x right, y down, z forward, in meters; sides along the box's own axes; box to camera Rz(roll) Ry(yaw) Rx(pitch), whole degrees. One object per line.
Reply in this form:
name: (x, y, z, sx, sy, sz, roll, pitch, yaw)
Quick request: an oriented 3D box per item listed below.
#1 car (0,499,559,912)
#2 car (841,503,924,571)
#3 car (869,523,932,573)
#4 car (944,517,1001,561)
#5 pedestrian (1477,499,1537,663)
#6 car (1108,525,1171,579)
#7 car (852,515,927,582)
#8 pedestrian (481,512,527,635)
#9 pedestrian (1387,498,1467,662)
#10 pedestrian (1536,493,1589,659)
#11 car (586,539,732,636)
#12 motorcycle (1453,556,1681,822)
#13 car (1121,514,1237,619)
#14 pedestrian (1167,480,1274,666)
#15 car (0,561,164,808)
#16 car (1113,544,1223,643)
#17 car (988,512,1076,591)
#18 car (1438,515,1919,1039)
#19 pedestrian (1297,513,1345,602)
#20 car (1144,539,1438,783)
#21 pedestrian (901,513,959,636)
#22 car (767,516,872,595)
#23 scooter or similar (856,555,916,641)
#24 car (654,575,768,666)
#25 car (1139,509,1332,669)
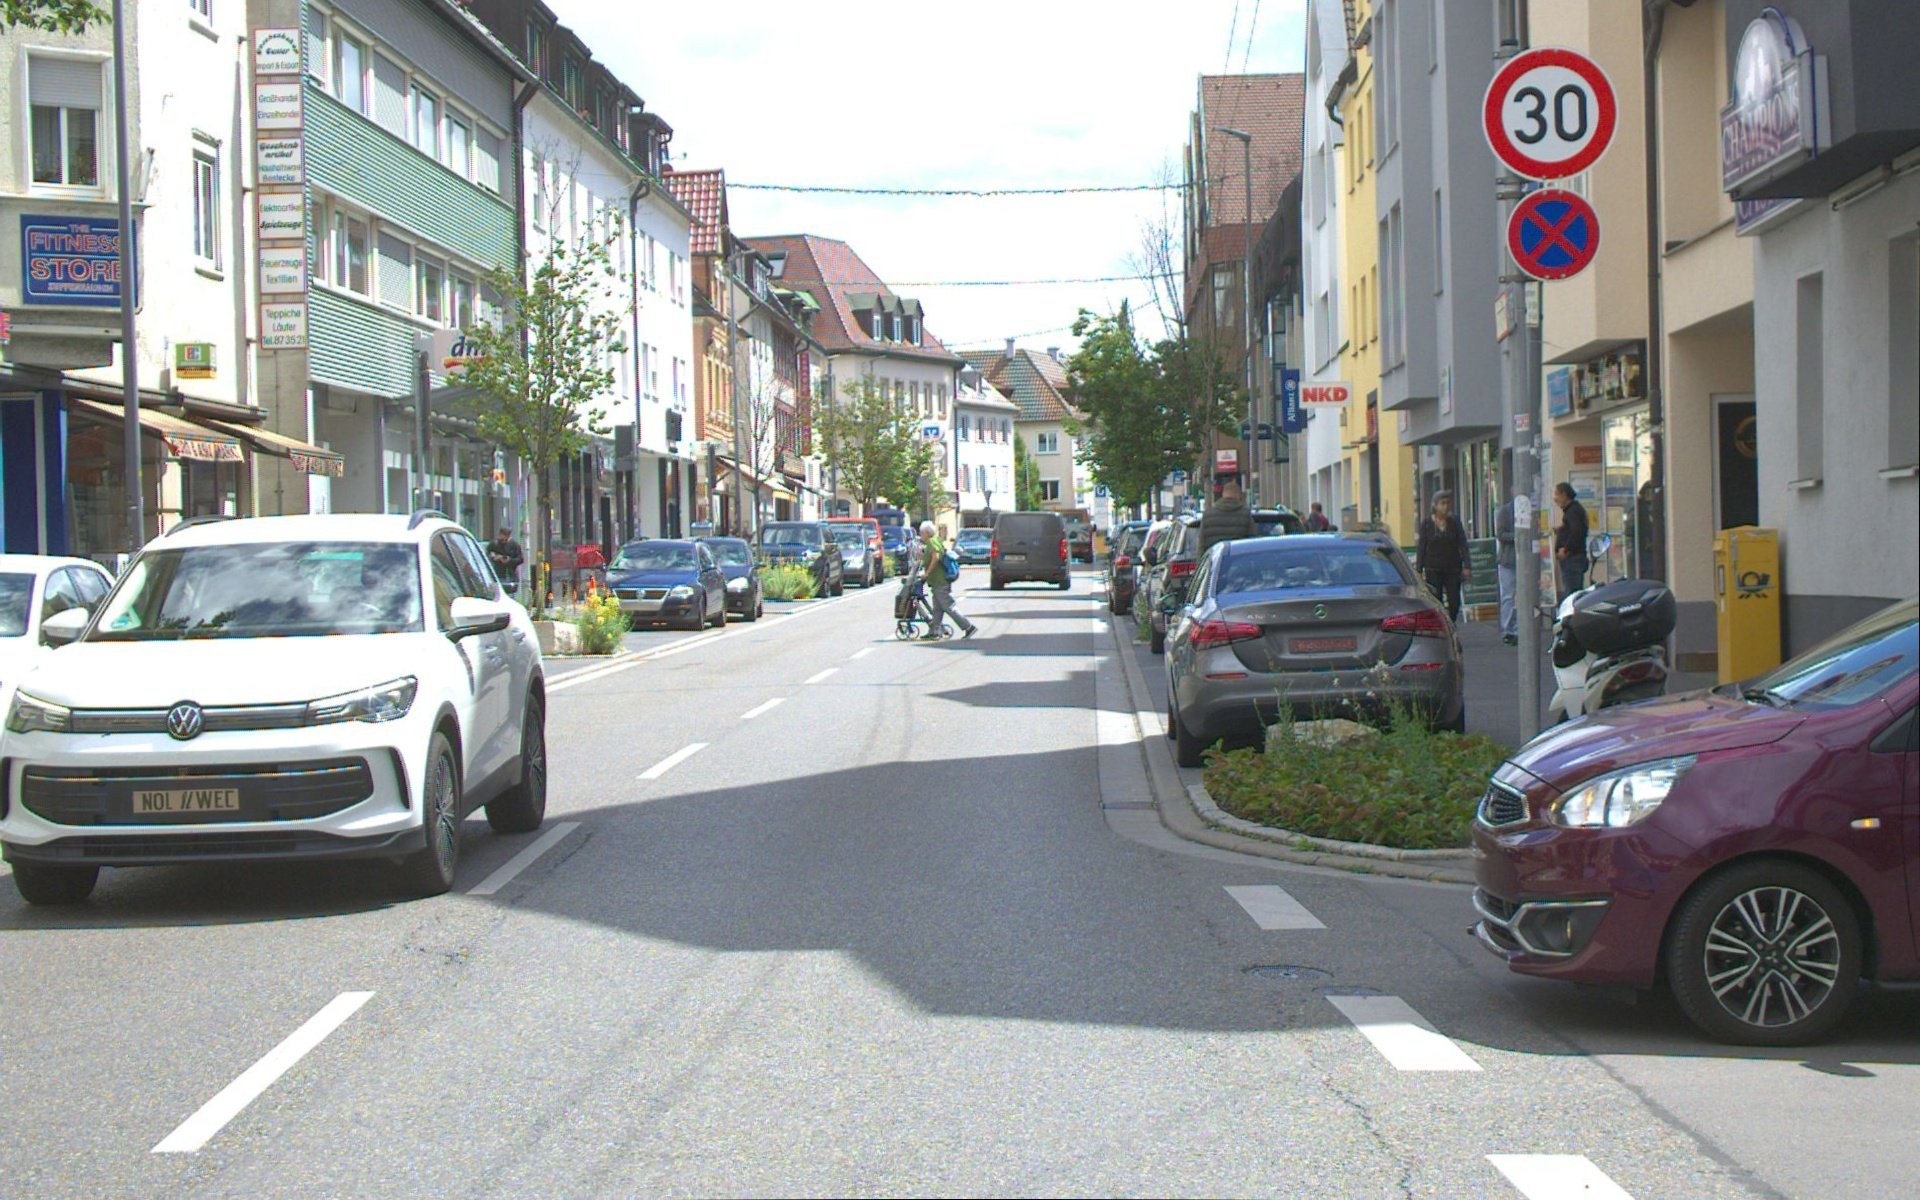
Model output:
car: (-3.043, 0.405, 15.822, 1.788, 1.634, 4.116, 1, 0, 2)
car: (-2.042, -1.674, 91.995, 1.816, 1.749, 4.463, 1, 0, 4)
car: (-1.922, -1.696, 112.096, 1.799, 1.592, 4.389, 0, 1, 3)
car: (0.487, -2.255, 127.535, 1.905, 1.558, 4.645, 1, 0, 3)
pedestrian: (5.767, -0.197, 36.259, 0.535, 1.712, 0.606, 1, 0, 1)
car: (5.139, -1.350, 98.115, 1.721, 1.488, 4.108, 1, 0, 4)
car: (-2.007, -1.478, 99.466, 1.816, 1.882, 4.840, 1, 0, 3)
pedestrian: (-6.557, -0.379, 49.445, 0.548, 1.751, 0.729, 1, 0, -1)
pedestrian: (4.947, -0.212, 36.414, 0.743, 1.712, 0.656, -1, 0, 1)
pedestrian: (6.264, -0.249, 35.764, 0.435, 1.712, 0.537, 1, 0, 0)
car: (-4.841, -0.235, 55.874, 1.790, 1.507, 4.712, 0, 1, 2)
motorcycle: (3.050, 0.414, 17.494, 0.659, 1.255, 2.376, 1, 0, -2)
car: (3.383, -0.516, 53.609, 1.689, 1.568, 3.756, 1, 0, 2)
pedestrian: (2.692, -0.278, 35.636, 0.975, 1.857, 0.864, -3, 0, 1)
car: (-6.330, 0.451, 21.384, 1.845, 1.393, 4.037, 1, 0, -1)
car: (3.482, -0.144, 58.126, 1.689, 1.467, 4.524, 1, 2, 2)
car: (1.750, -1.150, 82.939, 2.041, 1.842, 4.999, 1, 0, 2)
car: (3.484, 0.525, 10.836, 3.746, 1.525, 1.537, 1, 0, 1)
pedestrian: (6.369, -0.747, 60.673, 0.750, 1.548, 0.726, -1, 0, 2)
car: (2.122, 0.341, 22.404, 1.707, 1.415, 4.318, 1, 0, 5)
pedestrian: (-0.400, -0.338, 45.459, 0.731, 1.612, 0.651, 1, 0, -2)
car: (-3.181, -1.009, 78.636, 1.816, 1.749, 4.668, 1, 0, 5)
scooter or similar: (-0.980, -0.024, 45.428, 0.781, 1.122, 0.630, 1, 0, -2)
car: (-4.416, 0.344, 61.374, 1.790, 1.498, 4.178, 1, 1, -1)
car: (2.999, -0.165, 38.123, 1.799, 1.598, 4.204, -3, 1, 1)
